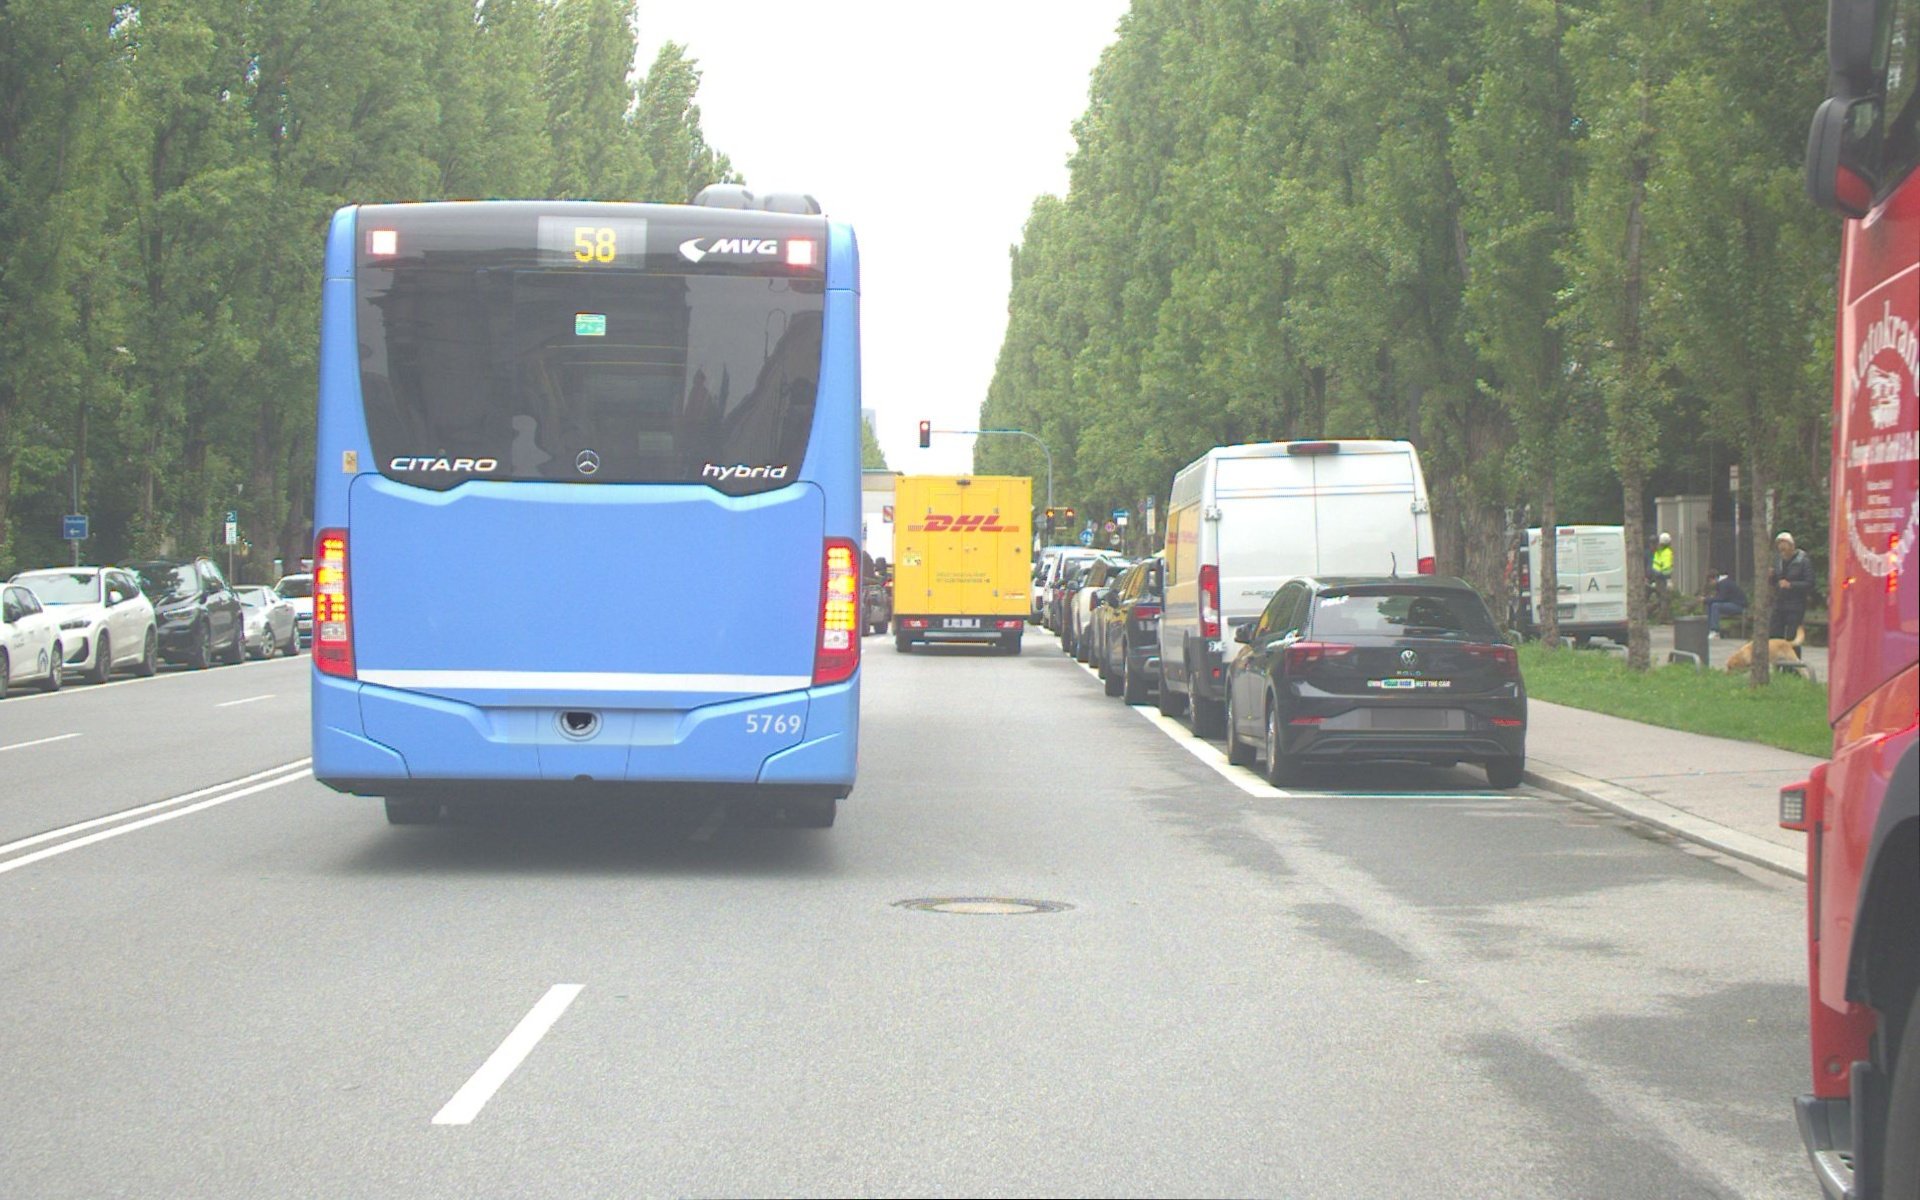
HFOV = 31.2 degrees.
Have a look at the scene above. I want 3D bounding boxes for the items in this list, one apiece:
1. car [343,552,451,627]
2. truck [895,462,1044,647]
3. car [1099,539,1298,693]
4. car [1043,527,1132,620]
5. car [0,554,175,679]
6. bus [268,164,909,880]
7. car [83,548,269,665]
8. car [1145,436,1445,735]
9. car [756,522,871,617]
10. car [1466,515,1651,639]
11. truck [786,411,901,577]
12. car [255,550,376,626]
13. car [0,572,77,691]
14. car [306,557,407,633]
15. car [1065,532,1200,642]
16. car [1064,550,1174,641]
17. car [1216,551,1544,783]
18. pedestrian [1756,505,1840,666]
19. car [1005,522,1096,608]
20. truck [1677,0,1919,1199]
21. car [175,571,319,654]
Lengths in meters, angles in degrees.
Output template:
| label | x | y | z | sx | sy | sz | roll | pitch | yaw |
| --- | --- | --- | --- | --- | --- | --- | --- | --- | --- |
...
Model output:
| label | x | y | z | sx | sy | sz | roll | pitch | yaw |
| --- | --- | --- | --- | --- | --- | --- | --- | --- | --- |
| car | -12.691 | -0.253 | 77.685 | 1.814 | 1.637 | 4.000 | 0 | 1 | -1 |
| truck | 0.106 | -0.767 | 57.463 | 2.327 | 2.888 | 7.333 | 0 | 1 | -1 |
| car | 2.555 | 0.137 | 37.722 | 1.821 | 1.585 | 4.223 | 1 | 1 | -1 |
| car | 2.755 | -0.588 | 75.149 | 1.806 | 1.969 | 4.236 | 0 | 1 | 0 |
| car | -12.457 | 0.207 | 48.186 | 1.785 | 1.583 | 4.461 | -2 | 1 | 1 |
| bus | -1.873 | -0.418 | 19.959 | 2.855 | 3.202 | 9.061 | 0 | 1 | -3 |
| car | -12.283 | 0.061 | 54.157 | 1.880 | 1.653 | 4.718 | -3 | 1 | -1 |
| car | 2.958 | -0.172 | 31.789 | 2.074 | 2.470 | 6.284 | 1 | 1 | -1 |
| car | -2.861 | -0.626 | 67.919 | 2.035 | 1.795 | 4.507 | 0 | 1 | 0 |
| car | 9.671 | -0.396 | 55.974 | 1.993 | 1.919 | 5.324 | 0 | 1 | -1 |
| truck | -2.977 | -2.612 | 86.916 | 2.715 | 3.952 | 9.219 | 0 | 1 | -2 |
| car | -12.761 | -0.261 | 68.268 | 1.685 | 1.408 | 4.005 | -2 | 1 | -1 |
| car | -12.347 | 0.391 | 42.663 | 1.676 | 1.417 | 4.237 | -2 | 1 | 0 |
| car | -12.743 | -0.123 | 72.809 | 1.743 | 1.513 | 4.119 | -2 | 1 | -6 |
| car | 2.613 | -0.219 | 52.847 | 1.781 | 1.576 | 4.147 | 2 | 1 | -1 |
| car | 2.672 | -0.102 | 58.518 | 1.725 | 1.490 | 4.324 | 0 | 1 | 1 |
| car | 2.890 | 0.408 | 24.440 | 1.754 | 1.445 | 4.000 | 2 | 1 | -1 |
| pedestrian | 9.669 | -0.168 | 39.683 | 0.653 | 1.833 | 0.786 | -1 | 1 | -14 |
| car | 2.164 | -0.876 | 83.413 | 2.052 | 2.007 | 5.692 | 0 | 1 | 0 |
| truck | 2.749 | -0.080 | 1.439 | 2.713 | 3.099 | 10.427 | -1 | 1 | 0 |
| car | -12.338 | 0.191 | 59.691 | 1.580 | 1.300 | 4.029 | -2 | 1 | 1 |
